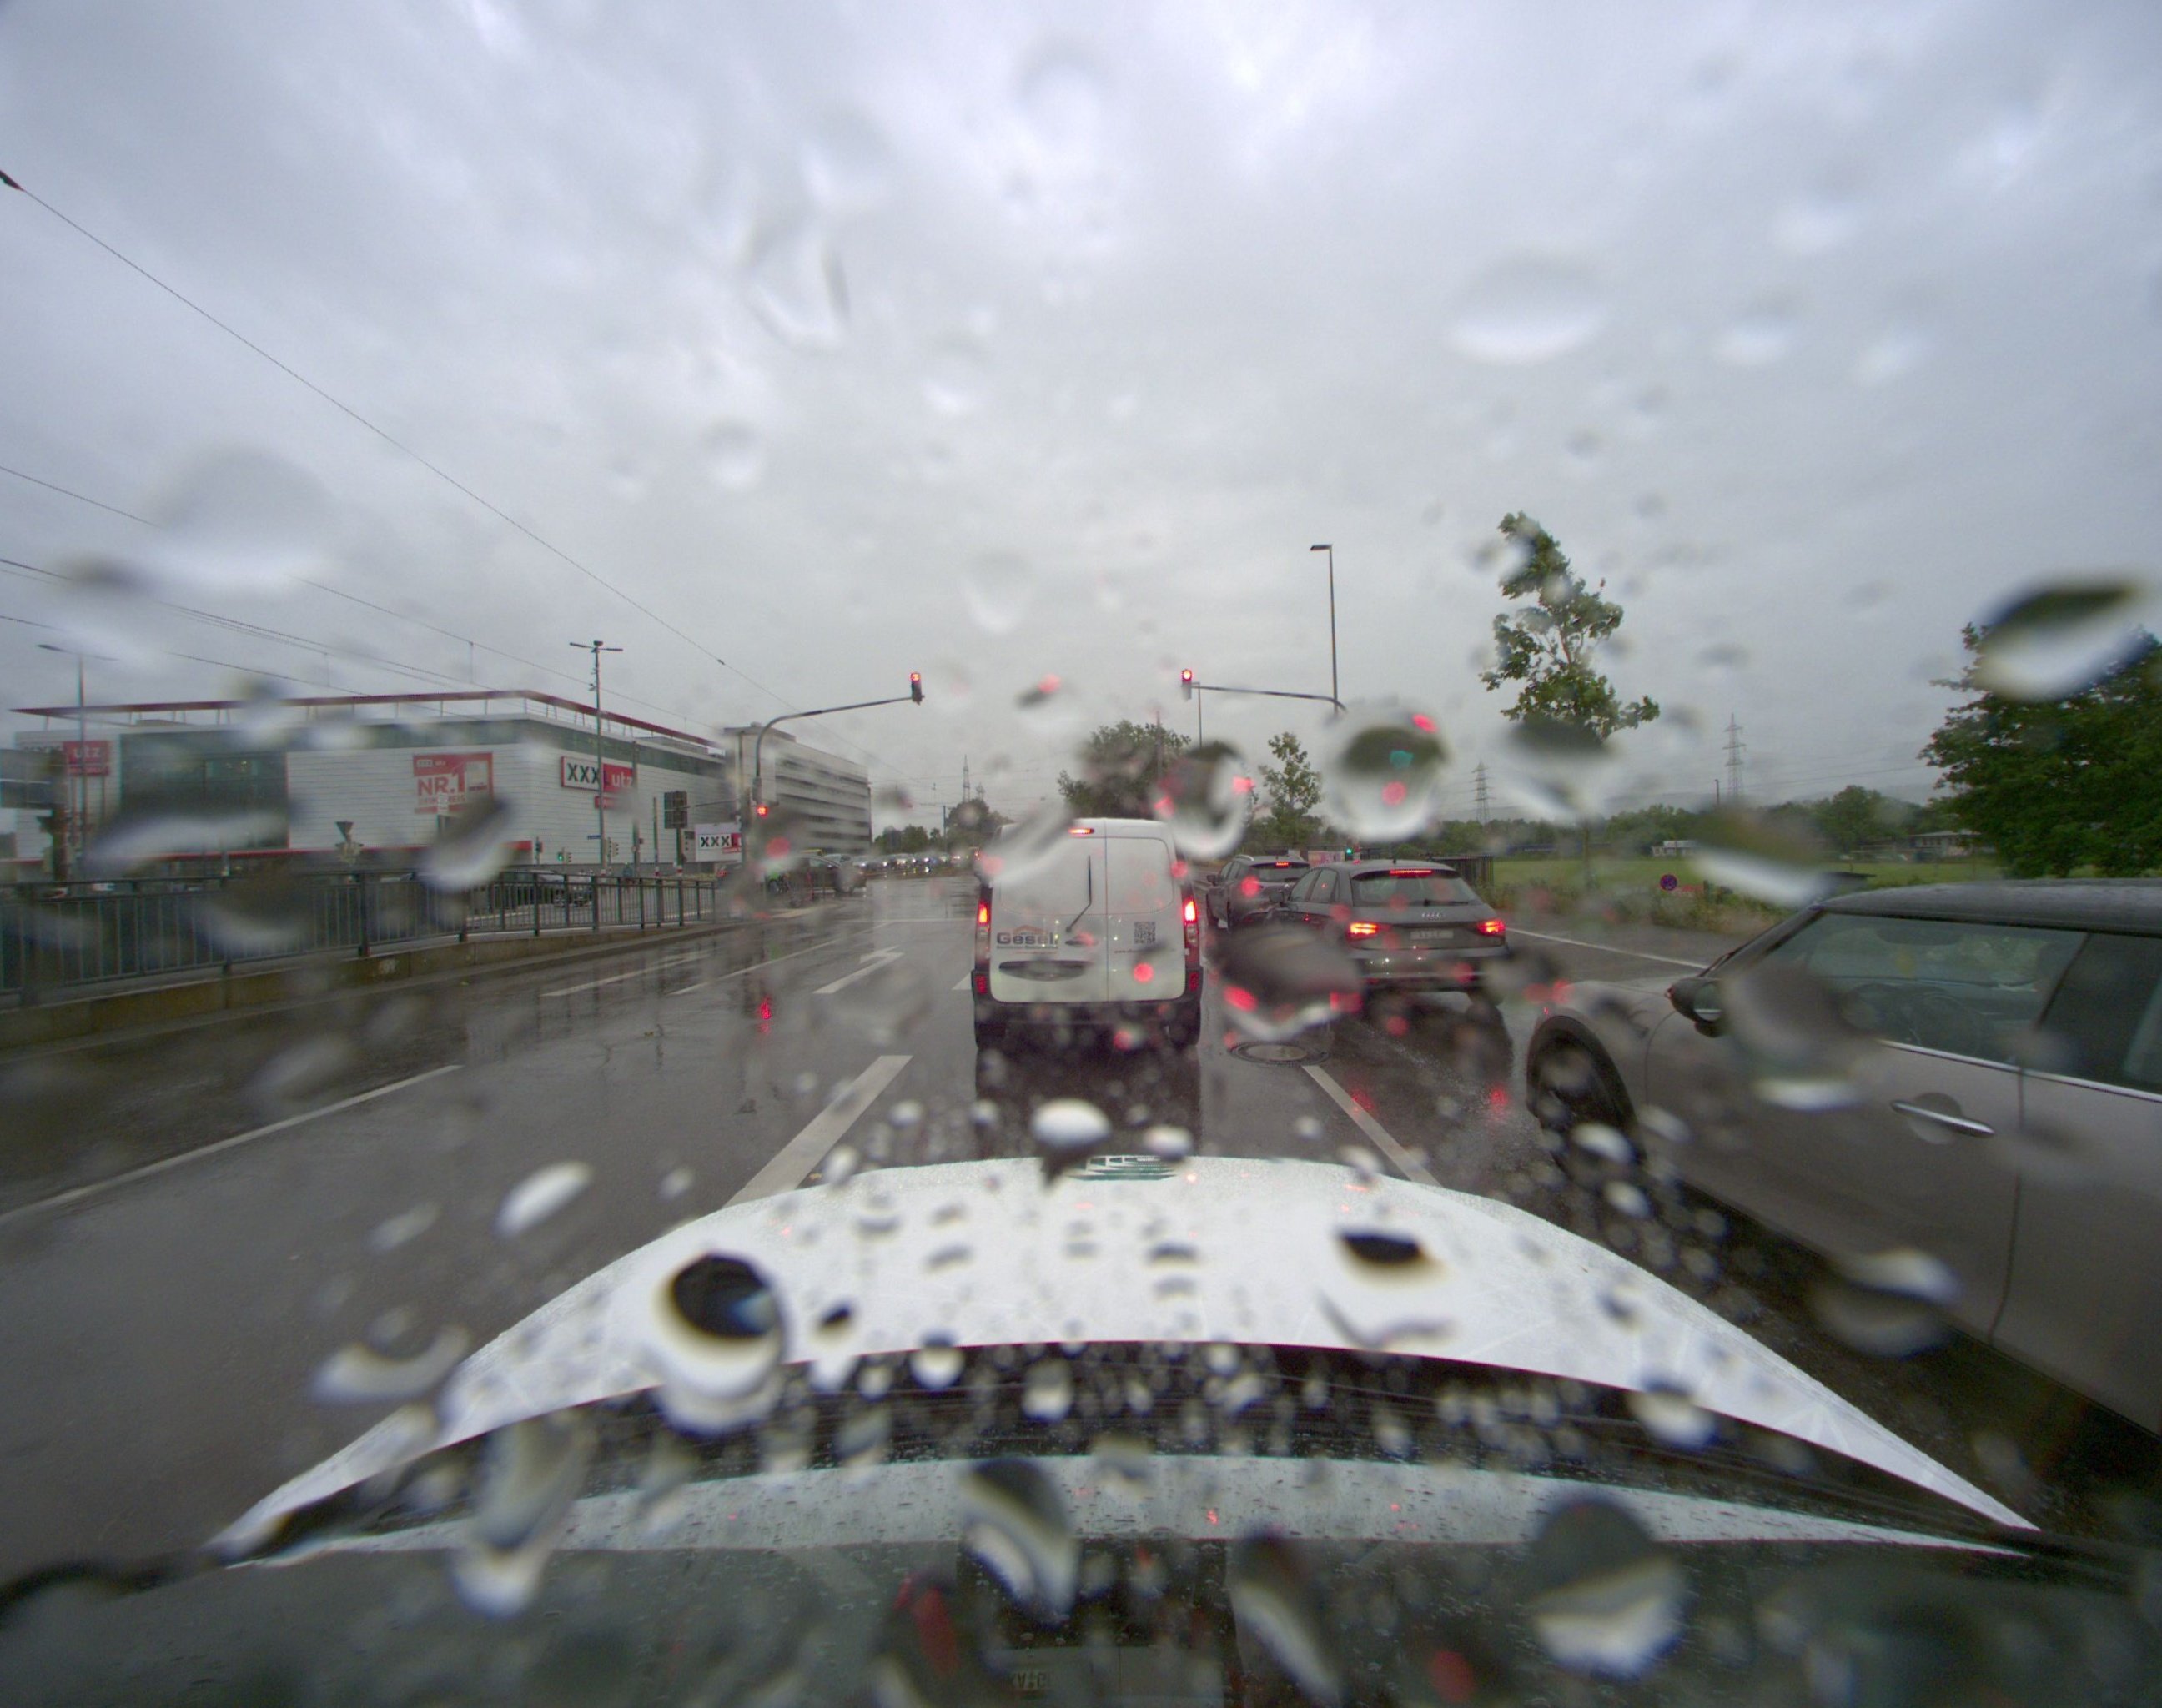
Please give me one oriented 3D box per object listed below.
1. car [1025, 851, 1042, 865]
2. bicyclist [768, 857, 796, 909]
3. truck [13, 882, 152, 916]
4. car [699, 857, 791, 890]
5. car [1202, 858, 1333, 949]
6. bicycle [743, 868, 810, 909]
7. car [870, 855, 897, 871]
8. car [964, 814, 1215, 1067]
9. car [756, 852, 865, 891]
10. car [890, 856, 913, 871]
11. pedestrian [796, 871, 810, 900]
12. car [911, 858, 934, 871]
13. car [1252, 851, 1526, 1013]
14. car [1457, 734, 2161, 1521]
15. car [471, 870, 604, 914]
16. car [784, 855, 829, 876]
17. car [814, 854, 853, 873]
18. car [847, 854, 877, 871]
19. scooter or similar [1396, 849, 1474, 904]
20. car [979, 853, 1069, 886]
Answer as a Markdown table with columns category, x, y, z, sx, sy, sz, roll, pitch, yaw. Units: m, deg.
| category | x | y | z | sx | sy | sz | roll | pitch | yaw |
| --- | --- | --- | --- | --- | --- | --- | --- | --- | --- |
| car | -5.869 | 0.501 | 101.044 | 1.942 | 1.662 | 4.461 | 0 | -1 | -1 |
| bicyclist | -8.745 | 0.827 | 23.835 | 0.608 | 1.491 | 0.593 | 0 | -1 | -39 |
| truck | -61.085 | 2.735 | 49.895 | 5.859 | 1.942 | 2.012 | 1 | -1 | 0 |
| car | -15.272 | 0.898 | 37.083 | 1.630 | 1.398 | 3.475 | 2 | 0 | 40 |
| car | 3.409 | 0.844 | 15.568 | 1.678 | 1.508 | 3.921 | 0 | 0 | 1 |
| bicycle | -8.851 | 0.995 | 23.738 | 1.768 | 1.137 | 0.514 | 0 | -1 | -41 |
| car | -18.873 | 0.867 | 78.027 | 1.554 | 1.426 | 3.570 | 1 | -1 | 2 |
| car | 0.010 | 0.577 | 7.801 | 1.749 | 1.750 | 4.166 | -1 | 1 | -2 |
| car | -10.881 | 0.717 | 32.823 | 3.935 | 1.398 | 1.521 | 2 | 0 | -29 |
| car | -18.605 | 1.006 | 84.512 | 1.554 | 1.426 | 3.570 | 1 | -1 | 2 |
| pedestrian | -8.825 | 0.987 | 25.839 | 0.314 | 0.897 | 0.380 | 1 | 0 | -1 |
| car | -17.885 | 1.215 | 91.867 | 1.704 | 1.426 | 3.810 | 1 | -1 | 2 |
| car | 3.098 | 0.729 | 8.996 | 1.592 | 1.366 | 3.629 | -2 | -1 | 0 |
| car | 2.941 | 0.585 | 2.636 | 1.697 | 1.508 | 3.878 | 1 | -3 | 0 |
| car | -19.916 | 1.375 | 29.954 | 3.772 | 1.398 | 1.535 | 2 | 0 | 0 |
| car | -19.429 | 0.807 | 57.804 | 1.704 | 1.426 | 3.810 | 1 | -1 | 2 |
| car | -19.332 | 0.769 | 63.713 | 1.704 | 1.426 | 3.810 | 1 | -1 | 2 |
| car | -19.046 | 0.775 | 70.946 | 1.554 | 1.426 | 3.570 | 1 | -1 | 2 |
| scooter or similar | 8.524 | 0.495 | 19.758 | 0.687 | 1.211 | 3.022 | -2 | 0 | 3 |
| car | -2.694 | 0.753 | 39.465 | 1.692 | 1.502 | 4.537 | 0 | -1 | 39 |
